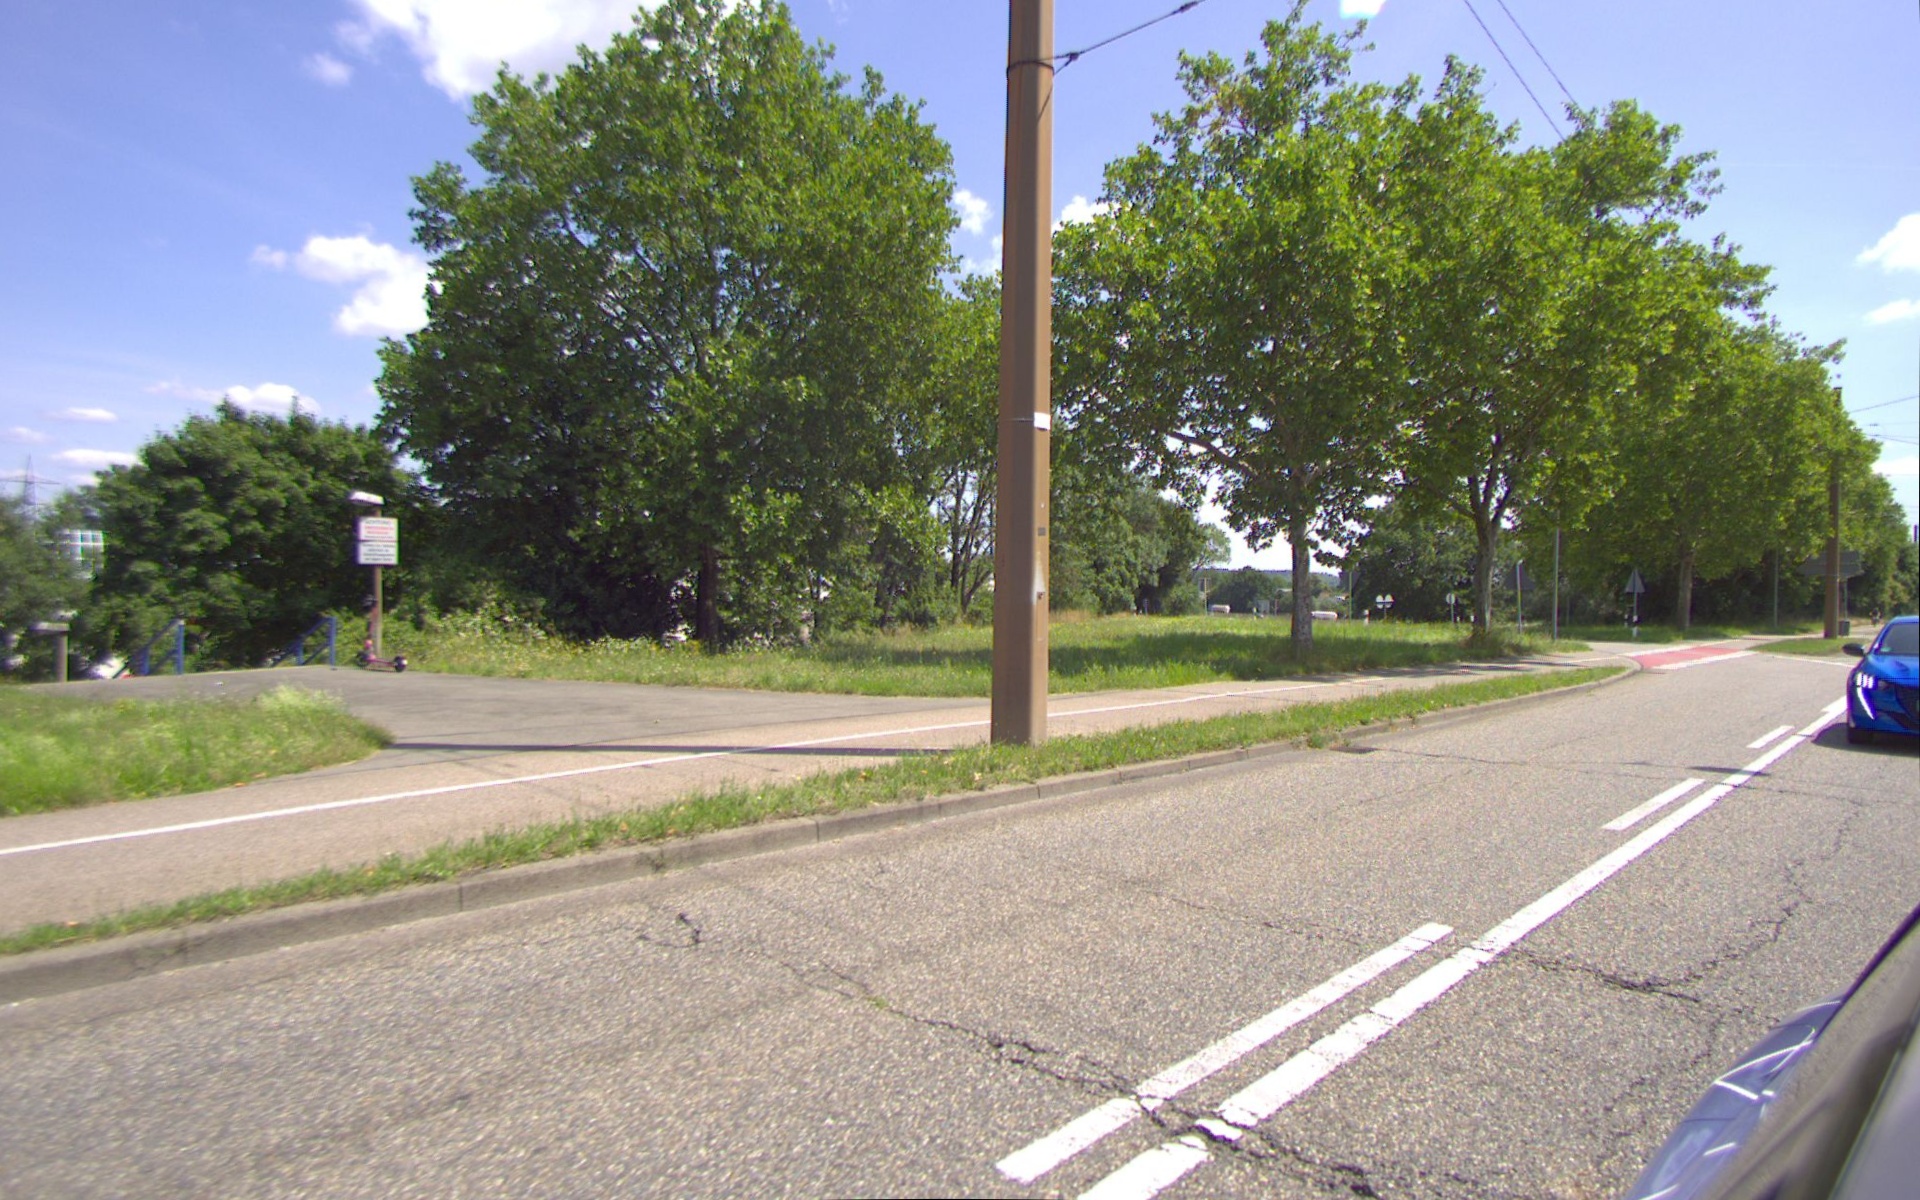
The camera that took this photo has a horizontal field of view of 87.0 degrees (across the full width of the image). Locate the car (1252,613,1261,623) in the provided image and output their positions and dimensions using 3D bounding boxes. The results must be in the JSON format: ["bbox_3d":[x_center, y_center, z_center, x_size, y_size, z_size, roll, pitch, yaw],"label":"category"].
[{"bbox_3d":[70.876,4.304,242.140,1.974,2.039,4.537,1,1,18],"label":"car"}]

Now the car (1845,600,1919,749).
[{"bbox_3d":[11.456,0.764,11.487,4.393,1.490,1.768,0,0,-44],"label":"car"}]
